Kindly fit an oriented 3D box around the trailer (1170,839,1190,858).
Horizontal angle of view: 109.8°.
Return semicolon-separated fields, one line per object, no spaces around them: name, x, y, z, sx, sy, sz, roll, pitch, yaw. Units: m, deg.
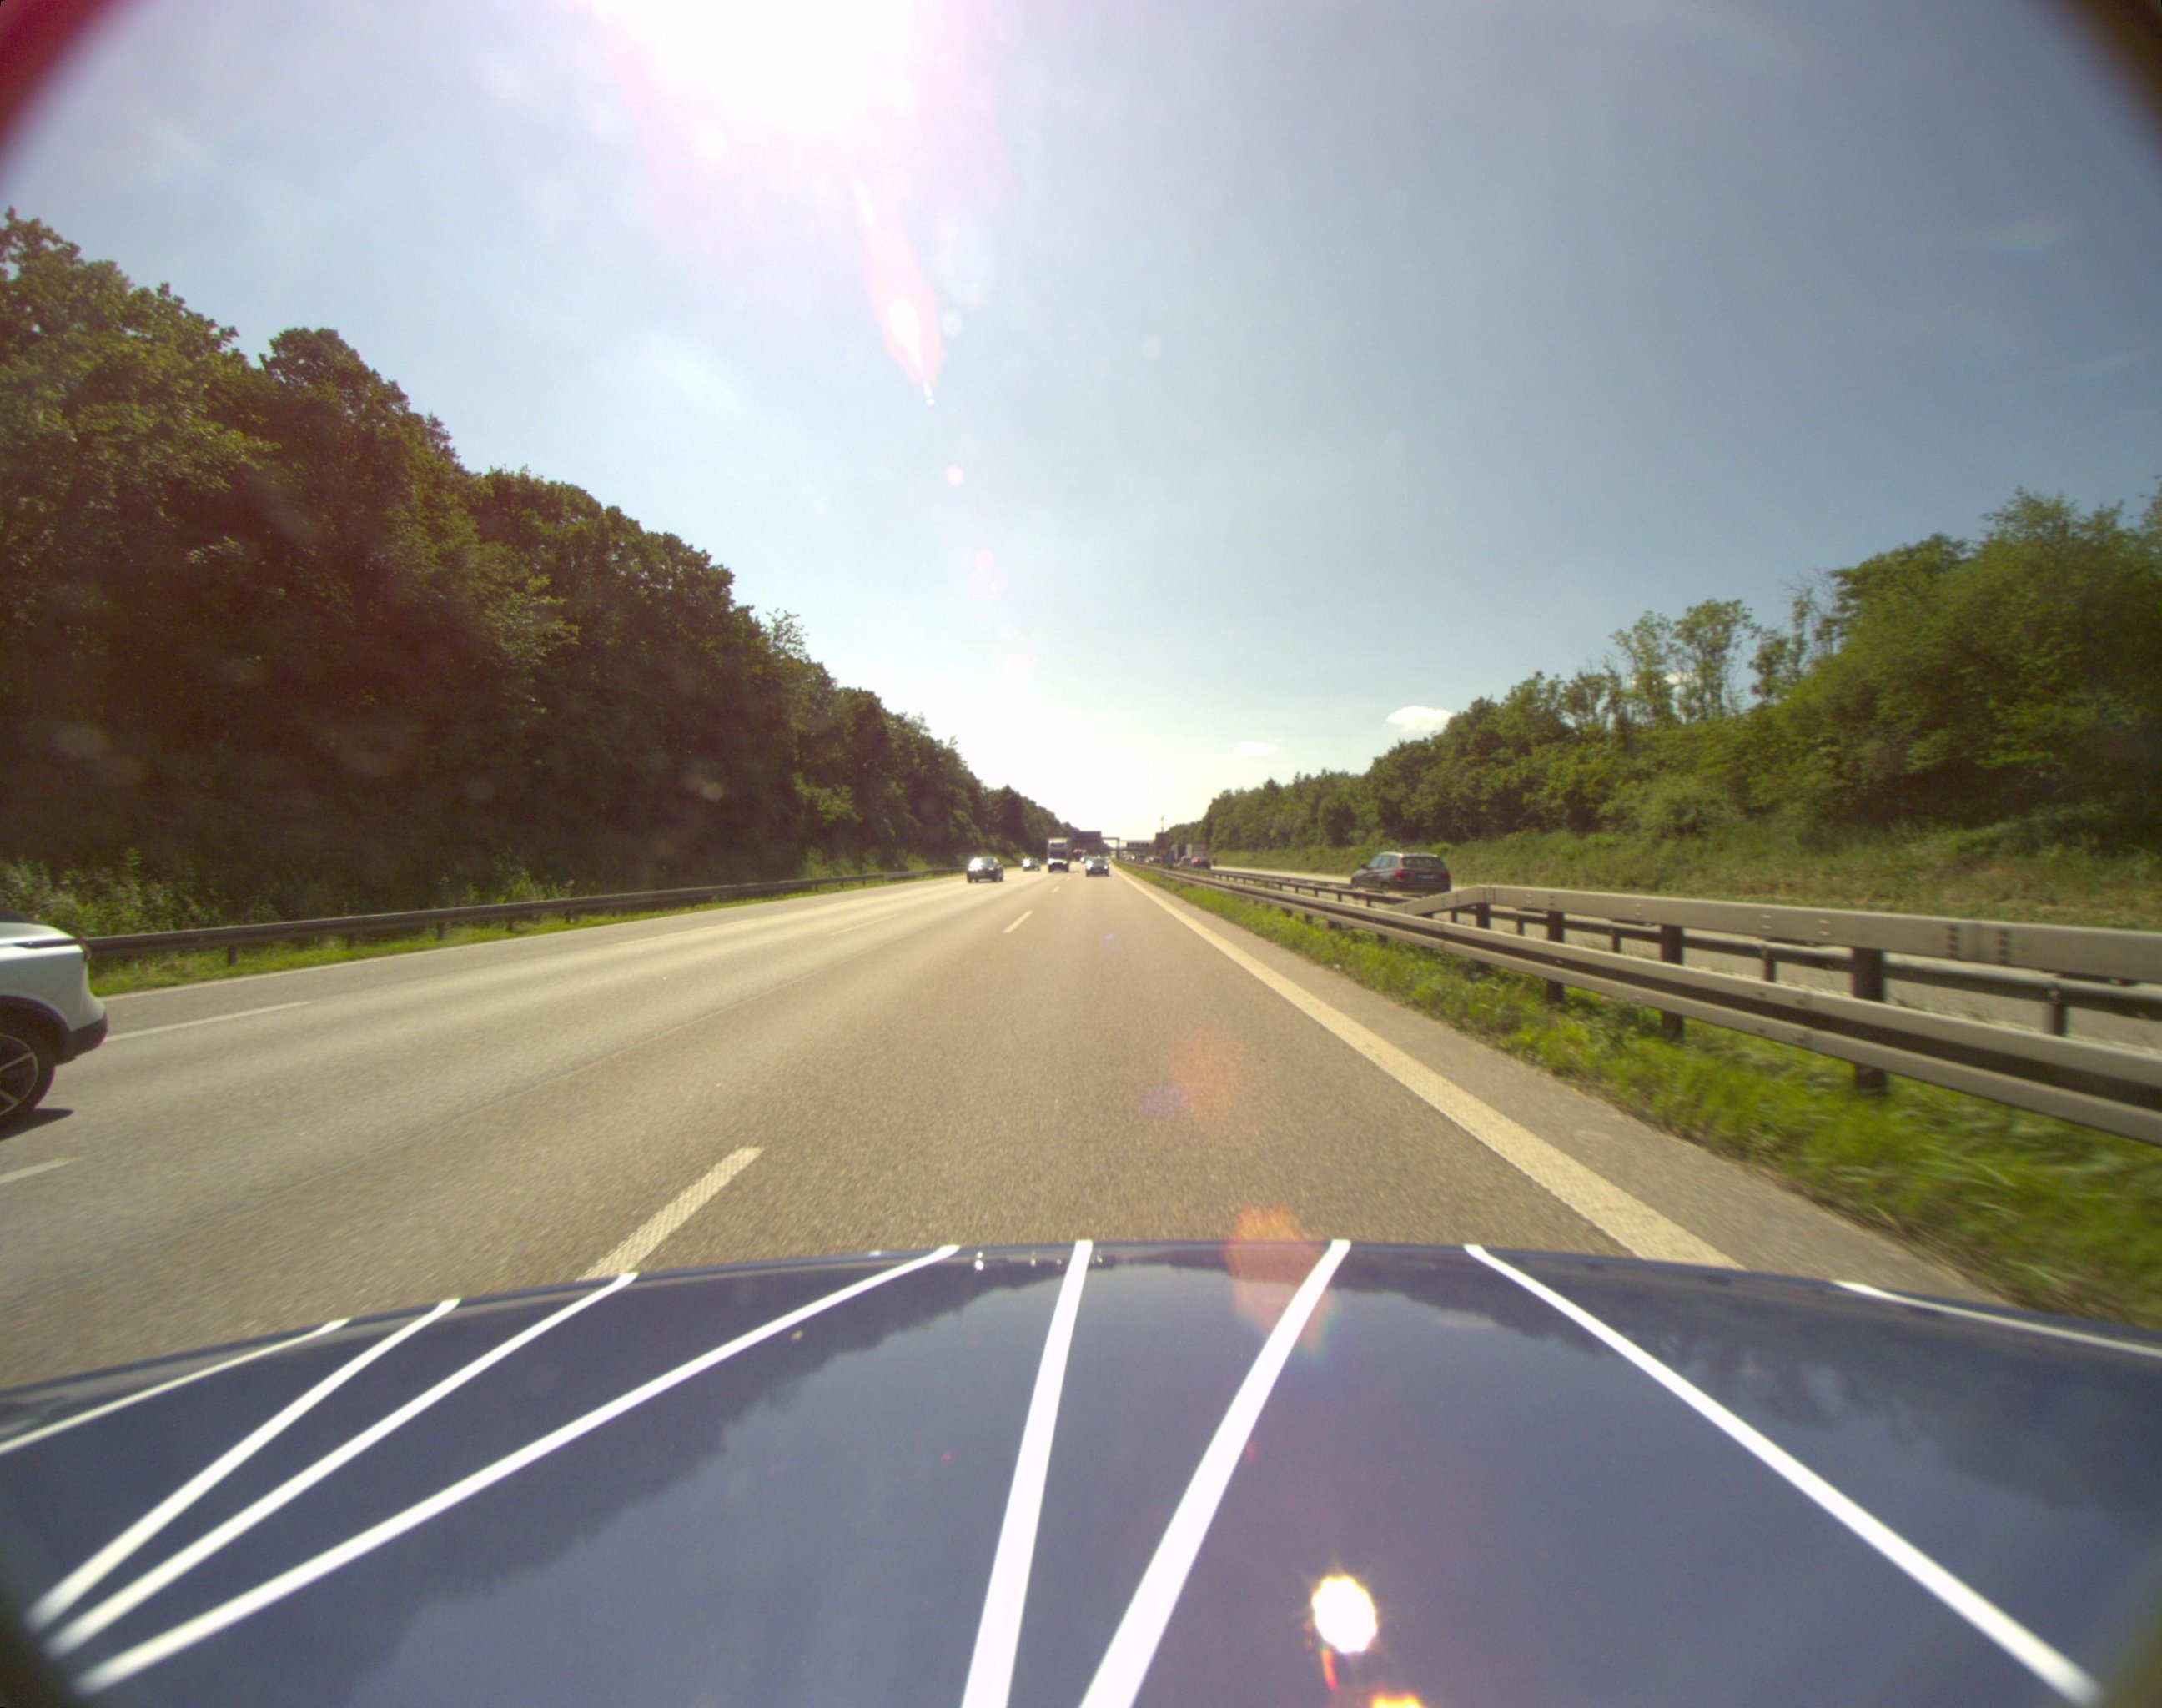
trailer;21.464;-1.196;165.569;2.621;4.035;14.169;2;0;1

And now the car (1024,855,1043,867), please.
car;-5.592;0.835;90.099;1.916;1.390;4.138;-1;0;1

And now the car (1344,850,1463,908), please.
car;10.293;0.723;24.688;1.811;1.632;4.800;1;0;1

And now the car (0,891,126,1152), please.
car;-7.545;1.072;3.196;1.848;1.559;4.035;-2;0;1

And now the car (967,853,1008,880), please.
car;-6.248;0.833;51.398;1.924;1.659;4.687;-2;0;3

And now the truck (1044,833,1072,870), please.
truck;-2.357;-0.296;79.615;2.676;3.661;6.483;-1;0;1

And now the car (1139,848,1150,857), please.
car;14.442;-0.317;173.057;1.932;1.969;5.234;2;0;1

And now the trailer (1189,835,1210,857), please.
trailer;21.302;-1.337;136.858;2.719;3.787;7.692;1;0;1

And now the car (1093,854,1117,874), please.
car;1.819;0.749;58.789;1.814;1.483;3.729;-1;0;1

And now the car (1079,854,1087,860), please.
car;0.513;0.604;172.323;1.831;1.346;3.679;0;0;1

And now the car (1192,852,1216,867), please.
car;12.005;0.537;74.342;1.718;1.390;4.149;0;0;1

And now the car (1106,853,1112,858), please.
car;7.667;0.431;209.755;1.591;1.291;3.382;0;0;1

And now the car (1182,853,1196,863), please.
car;16.841;0.634;118.878;1.679;1.487;3.544;0;0;1

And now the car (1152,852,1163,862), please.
car;12.111;0.476;120.865;1.437;1.519;3.457;0;0;1

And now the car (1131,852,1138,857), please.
car;16.259;0.186;229.493;1.812;1.397;4.819;0;0;1

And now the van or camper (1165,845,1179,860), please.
van or camper;17.834;-0.262;148.973;2.202;2.795;6.797;2;0;2
